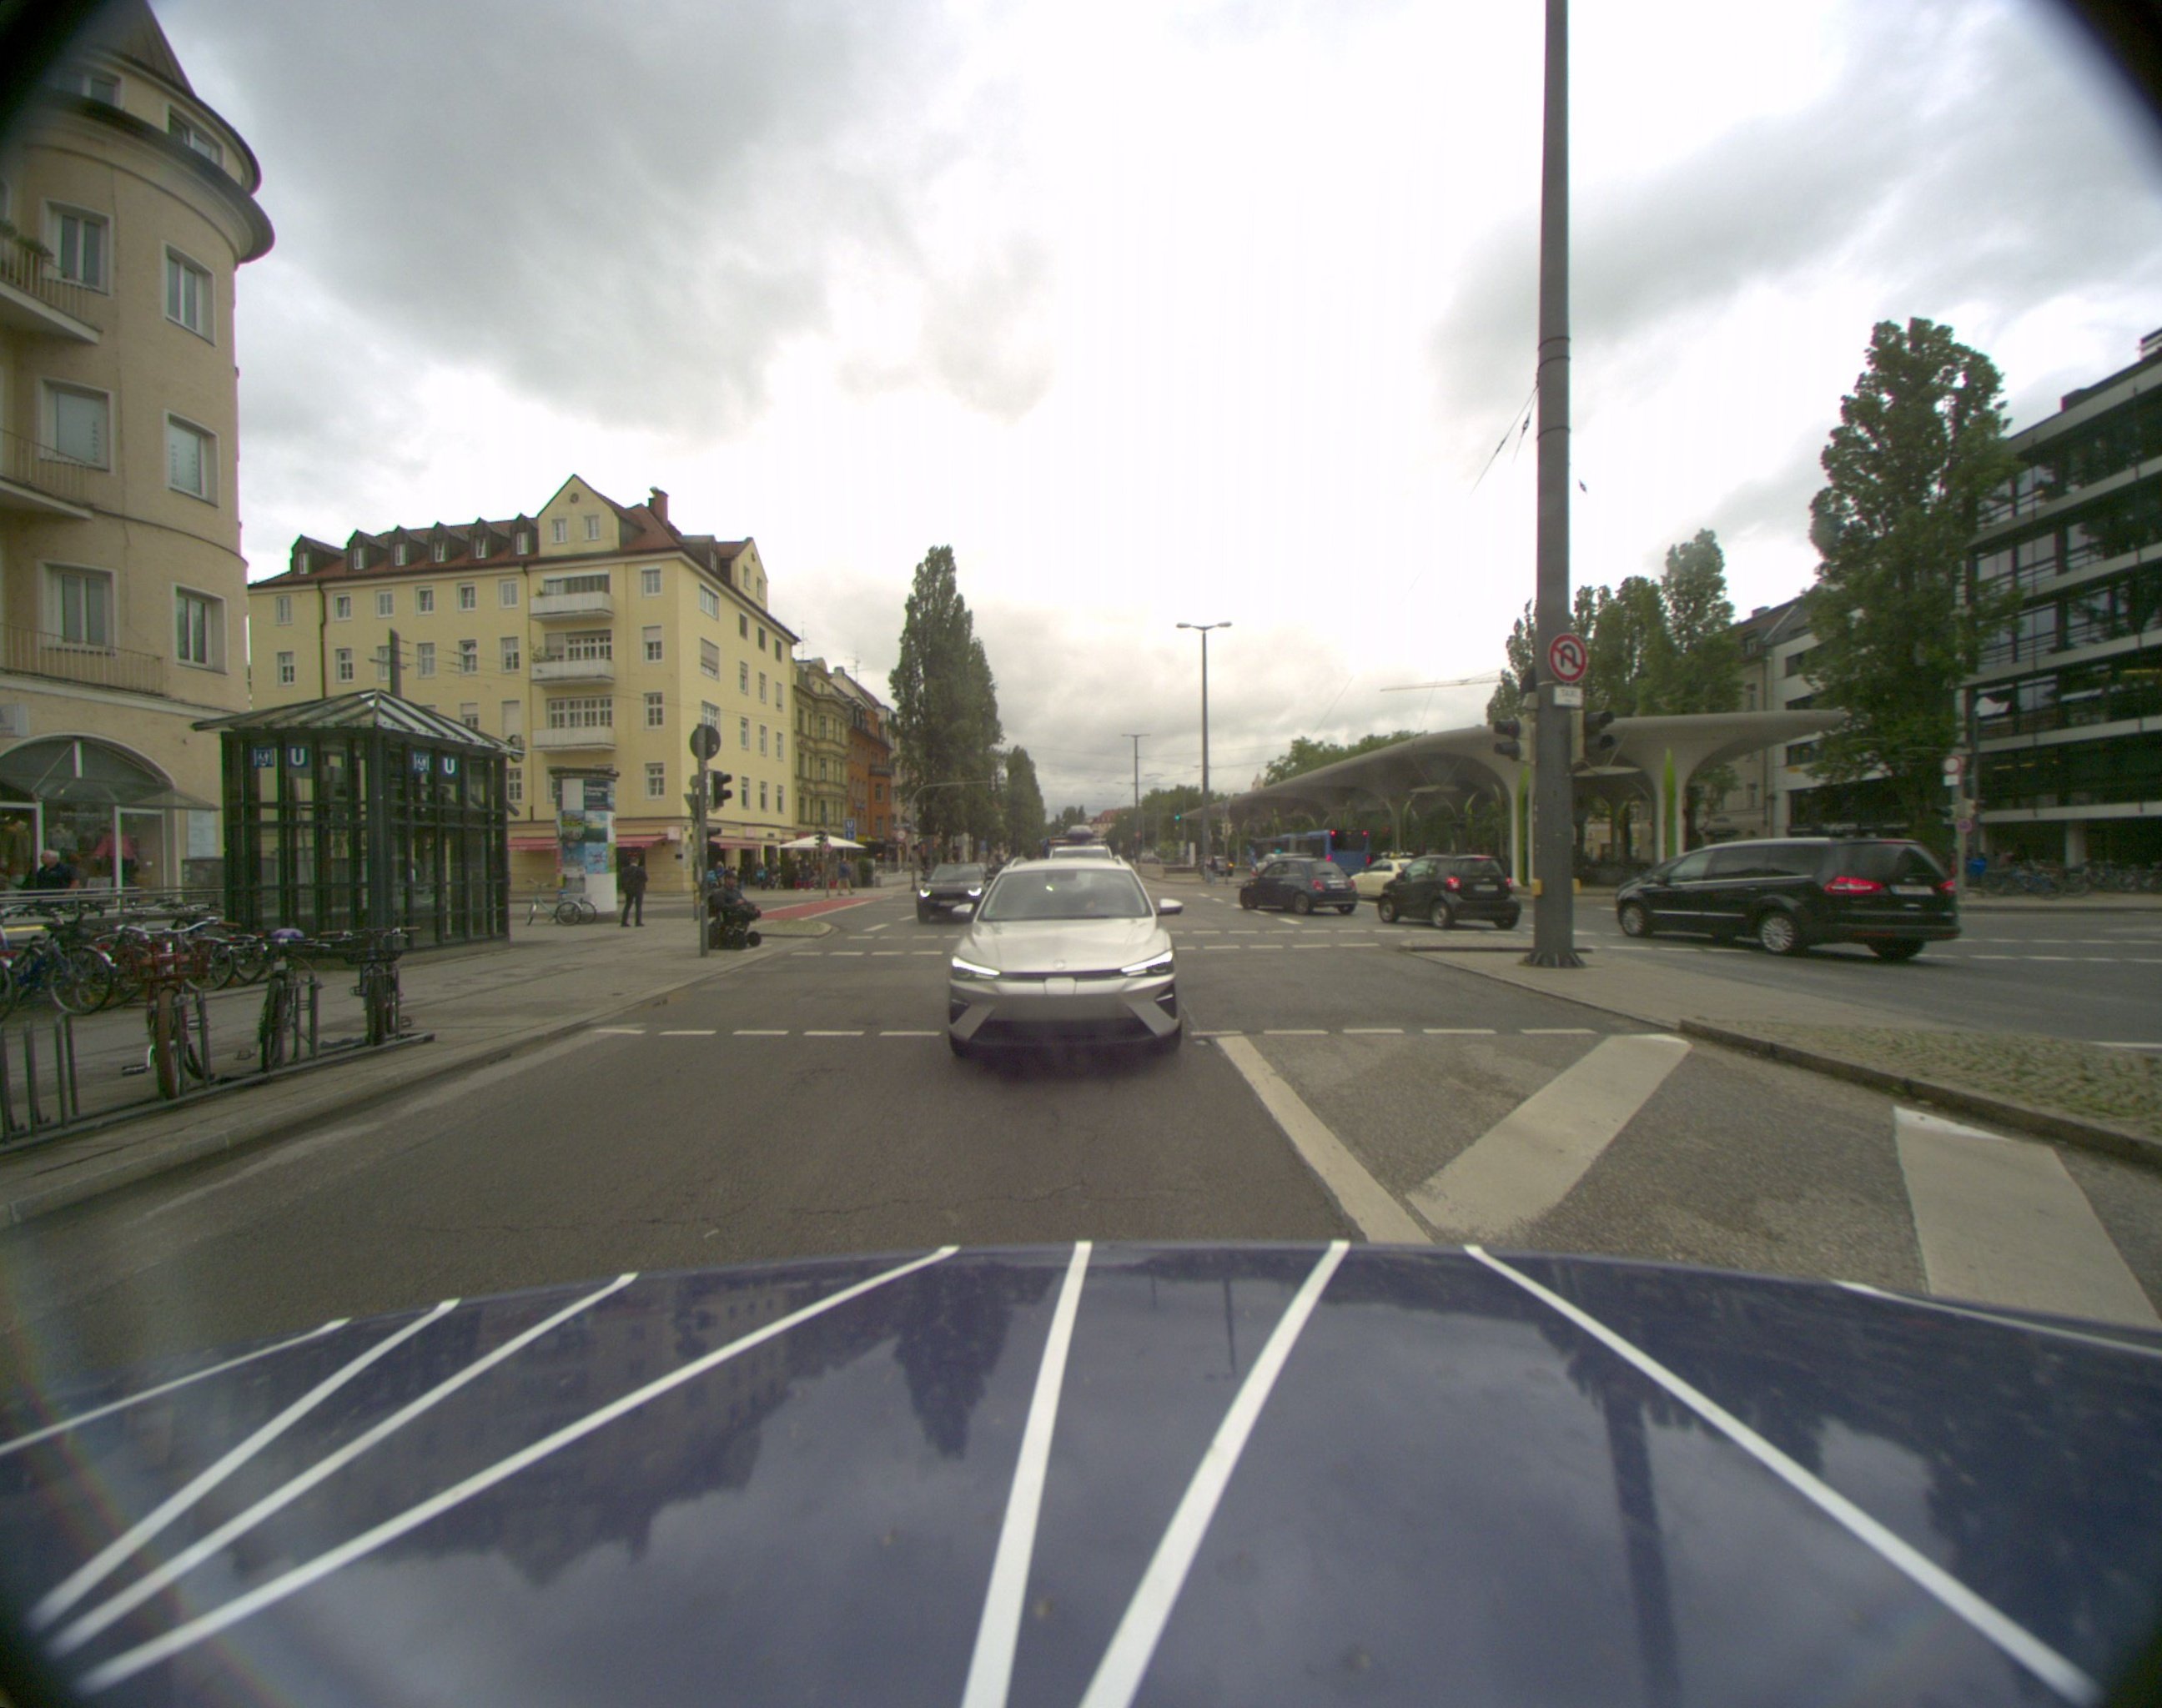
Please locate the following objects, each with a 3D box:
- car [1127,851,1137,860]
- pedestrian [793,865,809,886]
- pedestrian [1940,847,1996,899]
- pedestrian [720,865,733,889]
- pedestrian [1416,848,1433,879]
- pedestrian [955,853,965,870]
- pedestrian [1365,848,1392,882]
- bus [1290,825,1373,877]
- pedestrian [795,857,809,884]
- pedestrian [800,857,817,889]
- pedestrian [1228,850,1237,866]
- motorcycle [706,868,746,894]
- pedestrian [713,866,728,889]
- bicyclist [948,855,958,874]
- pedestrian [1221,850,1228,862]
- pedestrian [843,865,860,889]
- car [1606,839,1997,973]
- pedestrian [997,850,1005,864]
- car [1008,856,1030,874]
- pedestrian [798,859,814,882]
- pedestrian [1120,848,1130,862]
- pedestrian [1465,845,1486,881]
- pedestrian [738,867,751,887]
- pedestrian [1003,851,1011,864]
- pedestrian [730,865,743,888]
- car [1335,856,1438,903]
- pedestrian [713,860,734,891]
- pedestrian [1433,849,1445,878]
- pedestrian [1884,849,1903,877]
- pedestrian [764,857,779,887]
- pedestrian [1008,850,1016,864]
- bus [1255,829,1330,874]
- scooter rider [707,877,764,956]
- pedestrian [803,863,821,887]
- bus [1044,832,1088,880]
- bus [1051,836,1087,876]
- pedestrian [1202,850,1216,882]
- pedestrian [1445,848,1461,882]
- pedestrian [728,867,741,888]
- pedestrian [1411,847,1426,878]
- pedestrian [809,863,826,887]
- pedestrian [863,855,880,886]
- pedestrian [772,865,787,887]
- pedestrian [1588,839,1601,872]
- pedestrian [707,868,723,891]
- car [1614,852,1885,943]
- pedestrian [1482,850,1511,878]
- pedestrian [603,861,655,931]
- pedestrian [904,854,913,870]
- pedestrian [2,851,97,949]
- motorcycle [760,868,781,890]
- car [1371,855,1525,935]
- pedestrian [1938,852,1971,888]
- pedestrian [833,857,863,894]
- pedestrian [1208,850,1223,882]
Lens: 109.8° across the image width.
[{"bbox_3d":[11.046,0.316,164.446,1.911,1.829,3.868,-1,0,0],"label":"car"},{"bbox_3d":[-15.995,1.236,43.438,0.627,1.196,0.700,-1,1,0],"label":"pedestrian"},{"bbox_3d":[28.367,0.608,24.301,0.857,1.632,0.790,-1,1,4],"label":"pedestrian"},{"bbox_3d":[-19.949,1.299,42.735,0.479,1.291,0.527,-1,1,-2],"label":"pedestrian"},{"bbox_3d":[18.536,0.514,41.008,0.747,1.665,0.632,-1,1,16],"label":"pedestrian"},{"bbox_3d":[-11.031,0.694,69.222,0.762,1.553,0.763,-1,0,1],"label":"pedestrian"},{"bbox_3d":[15.258,0.564,38.950,0.974,1.671,0.840,-1,1,-21],"label":"pedestrian"},{"bbox_3d":[15.679,-0.174,48.162,2.667,2.990,7.512,1,0,0],"label":"bus"},{"bbox_3d":[-17.074,1.013,46.528,0.616,1.623,0.677,-1,1,0],"label":"pedestrian"},{"bbox_3d":[-14.457,1.003,40.329,0.762,1.685,0.766,-1,1,-25],"label":"pedestrian"},{"bbox_3d":[17.567,0.476,87.963,0.667,1.828,0.808,-1,1,-30],"label":"pedestrian"},{"bbox_3d":[-17.808,1.339,38.160,1.769,1.193,0.541,-1,1,-30],"label":"motorcycle"},{"bbox_3d":[-19.827,1.287,41.793,0.515,1.284,0.703,-1,1,-2],"label":"pedestrian"},{"bbox_3d":[-10.813,0.909,64.307,0.681,1.594,0.939,-1,1,0],"label":"bicyclist"},{"bbox_3d":[19.405,0.260,102.787,0.739,1.619,0.741,-1,1,-21],"label":"pedestrian"},{"bbox_3d":[-13.040,1.299,43.253,0.679,1.303,0.796,-1,1,0],"label":"pedestrian"},{"bbox_3d":[10.930,0.680,12.148,1.941,1.728,4.588,0,0,1],"label":"car"},{"bbox_3d":[-10.139,0.386,96.745,0.699,1.770,0.652,-2,0,33],"label":"pedestrian"},{"bbox_3d":[-5.775,1.050,71.156,1.780,1.515,3.969,-1,1,-1],"label":"car"},{"bbox_3d":[-16.564,0.989,45.790,0.677,1.414,0.616,-1,1,0],"label":"pedestrian"},{"bbox_3d":[5.777,0.154,100.439,0.862,1.801,0.895,-3,2,-34],"label":"pedestrian"},{"bbox_3d":[19.986,0.475,38.528,0.805,1.806,0.706,-1,1,15],"label":"pedestrian"},{"bbox_3d":[-19.445,1.321,43.883,0.479,1.159,0.527,-1,1,-2],"label":"pedestrian"},{"bbox_3d":[-9.531,0.454,97.467,0.758,1.628,0.699,-1,0,-43],"label":"pedestrian"},{"bbox_3d":[-19.399,1.265,42.798,0.479,1.291,0.527,-1,1,-2],"label":"pedestrian"},{"bbox_3d":[10.603,0.839,26.756,1.769,1.413,4.639,-3,0,1],"label":"car"},{"bbox_3d":[-18.817,1.123,40.024,0.712,1.623,0.786,-1,1,0],"label":"pedestrian"},{"bbox_3d":[19.391,0.510,41.159,0.519,1.579,0.481,-1,1,31],"label":"pedestrian"},{"bbox_3d":[46.189,0.485,43.192,0.593,1.583,0.675,0,1,30],"label":"pedestrian"},{"bbox_3d":[-18.139,1.051,44.533,0.602,1.729,0.666,-1,1,0],"label":"pedestrian"},{"bbox_3d":[-8.920,0.384,98.347,0.881,1.791,0.757,-2,0,10],"label":"pedestrian"},{"bbox_3d":[15.658,-0.189,57.181,2.667,2.990,10.514,1,0,0],"label":"bus"},{"bbox_3d":[-6.245,1.114,13.770,0.642,1.380,0.703,1,0,5],"label":"scooter rider"},{"bbox_3d":[-15.072,1.188,42.571,0.679,1.304,0.796,-1,1,0],"label":"pedestrian"},{"bbox_3d":[-0.961,0.154,53.395,2.637,2.956,9.465,-3,0,0],"label":"bus"},{"bbox_3d":[-0.935,0.157,62.408,2.637,2.956,8.533,-3,0,0],"label":"bus"},{"bbox_3d":[6.634,0.624,39.243,0.520,1.609,0.465,0,1,43],"label":"pedestrian"},{"bbox_3d":[18.878,0.551,38.528,0.548,1.710,0.615,-1,1,7],"label":"pedestrian"},{"bbox_3d":[-19.975,1.349,43.810,0.479,1.159,0.527,-1,1,-2],"label":"pedestrian"},{"bbox_3d":[18.704,0.487,42.089,0.703,1.701,0.758,0,1,22],"label":"pedestrian"},{"bbox_3d":[-15.068,1.186,43.461,0.679,1.304,0.796,-1,1,0],"label":"pedestrian"},{"bbox_3d":[-12.040,0.917,43.631,0.884,1.733,0.857,-1,1,-17],"label":"pedestrian"},{"bbox_3d":[-17.535,1.274,44.174,0.602,1.215,0.666,-1,1,0],"label":"pedestrian"},{"bbox_3d":[30.354,0.084,44.924,0.484,1.921,0.422,-1,1,-29],"label":"pedestrian"},{"bbox_3d":[-19.718,1.359,40.941,0.515,1.175,0.703,-1,1,-2],"label":"pedestrian"},{"bbox_3d":[13.453,0.784,15.713,1.844,1.604,4.257,-1,0,0],"label":"car"},{"bbox_3d":[21.590,0.517,39.505,1.025,1.444,0.854,-1,0,-4],"label":"pedestrian"},{"bbox_3d":[-11.122,1.008,18.703,0.834,1.681,0.821,0,1,37],"label":"pedestrian"},{"bbox_3d":[-18.794,0.860,82.774,0.748,1.704,1.017,-1,1,0],"label":"pedestrian"},{"bbox_3d":[-18.321,0.799,13.505,0.746,1.695,0.683,-1,0,4],"label":"pedestrian"},{"bbox_3d":[-17.168,1.347,42.013,0.487,1.150,1.571,-1,1,0],"label":"motorcycle"},{"bbox_3d":[7.713,0.803,16.212,1.509,1.525,2.834,-1,0,-13],"label":"car"},{"bbox_3d":[44.612,0.795,38.808,0.720,1.790,0.828,-1,1,10],"label":"pedestrian"},{"bbox_3d":[-11.155,1.034,36.386,0.935,1.745,1.066,-1,0,15],"label":"pedestrian"},{"bbox_3d":[6.877,0.613,38.914,0.488,1.609,0.556,-1,1,-35],"label":"pedestrian"}]
